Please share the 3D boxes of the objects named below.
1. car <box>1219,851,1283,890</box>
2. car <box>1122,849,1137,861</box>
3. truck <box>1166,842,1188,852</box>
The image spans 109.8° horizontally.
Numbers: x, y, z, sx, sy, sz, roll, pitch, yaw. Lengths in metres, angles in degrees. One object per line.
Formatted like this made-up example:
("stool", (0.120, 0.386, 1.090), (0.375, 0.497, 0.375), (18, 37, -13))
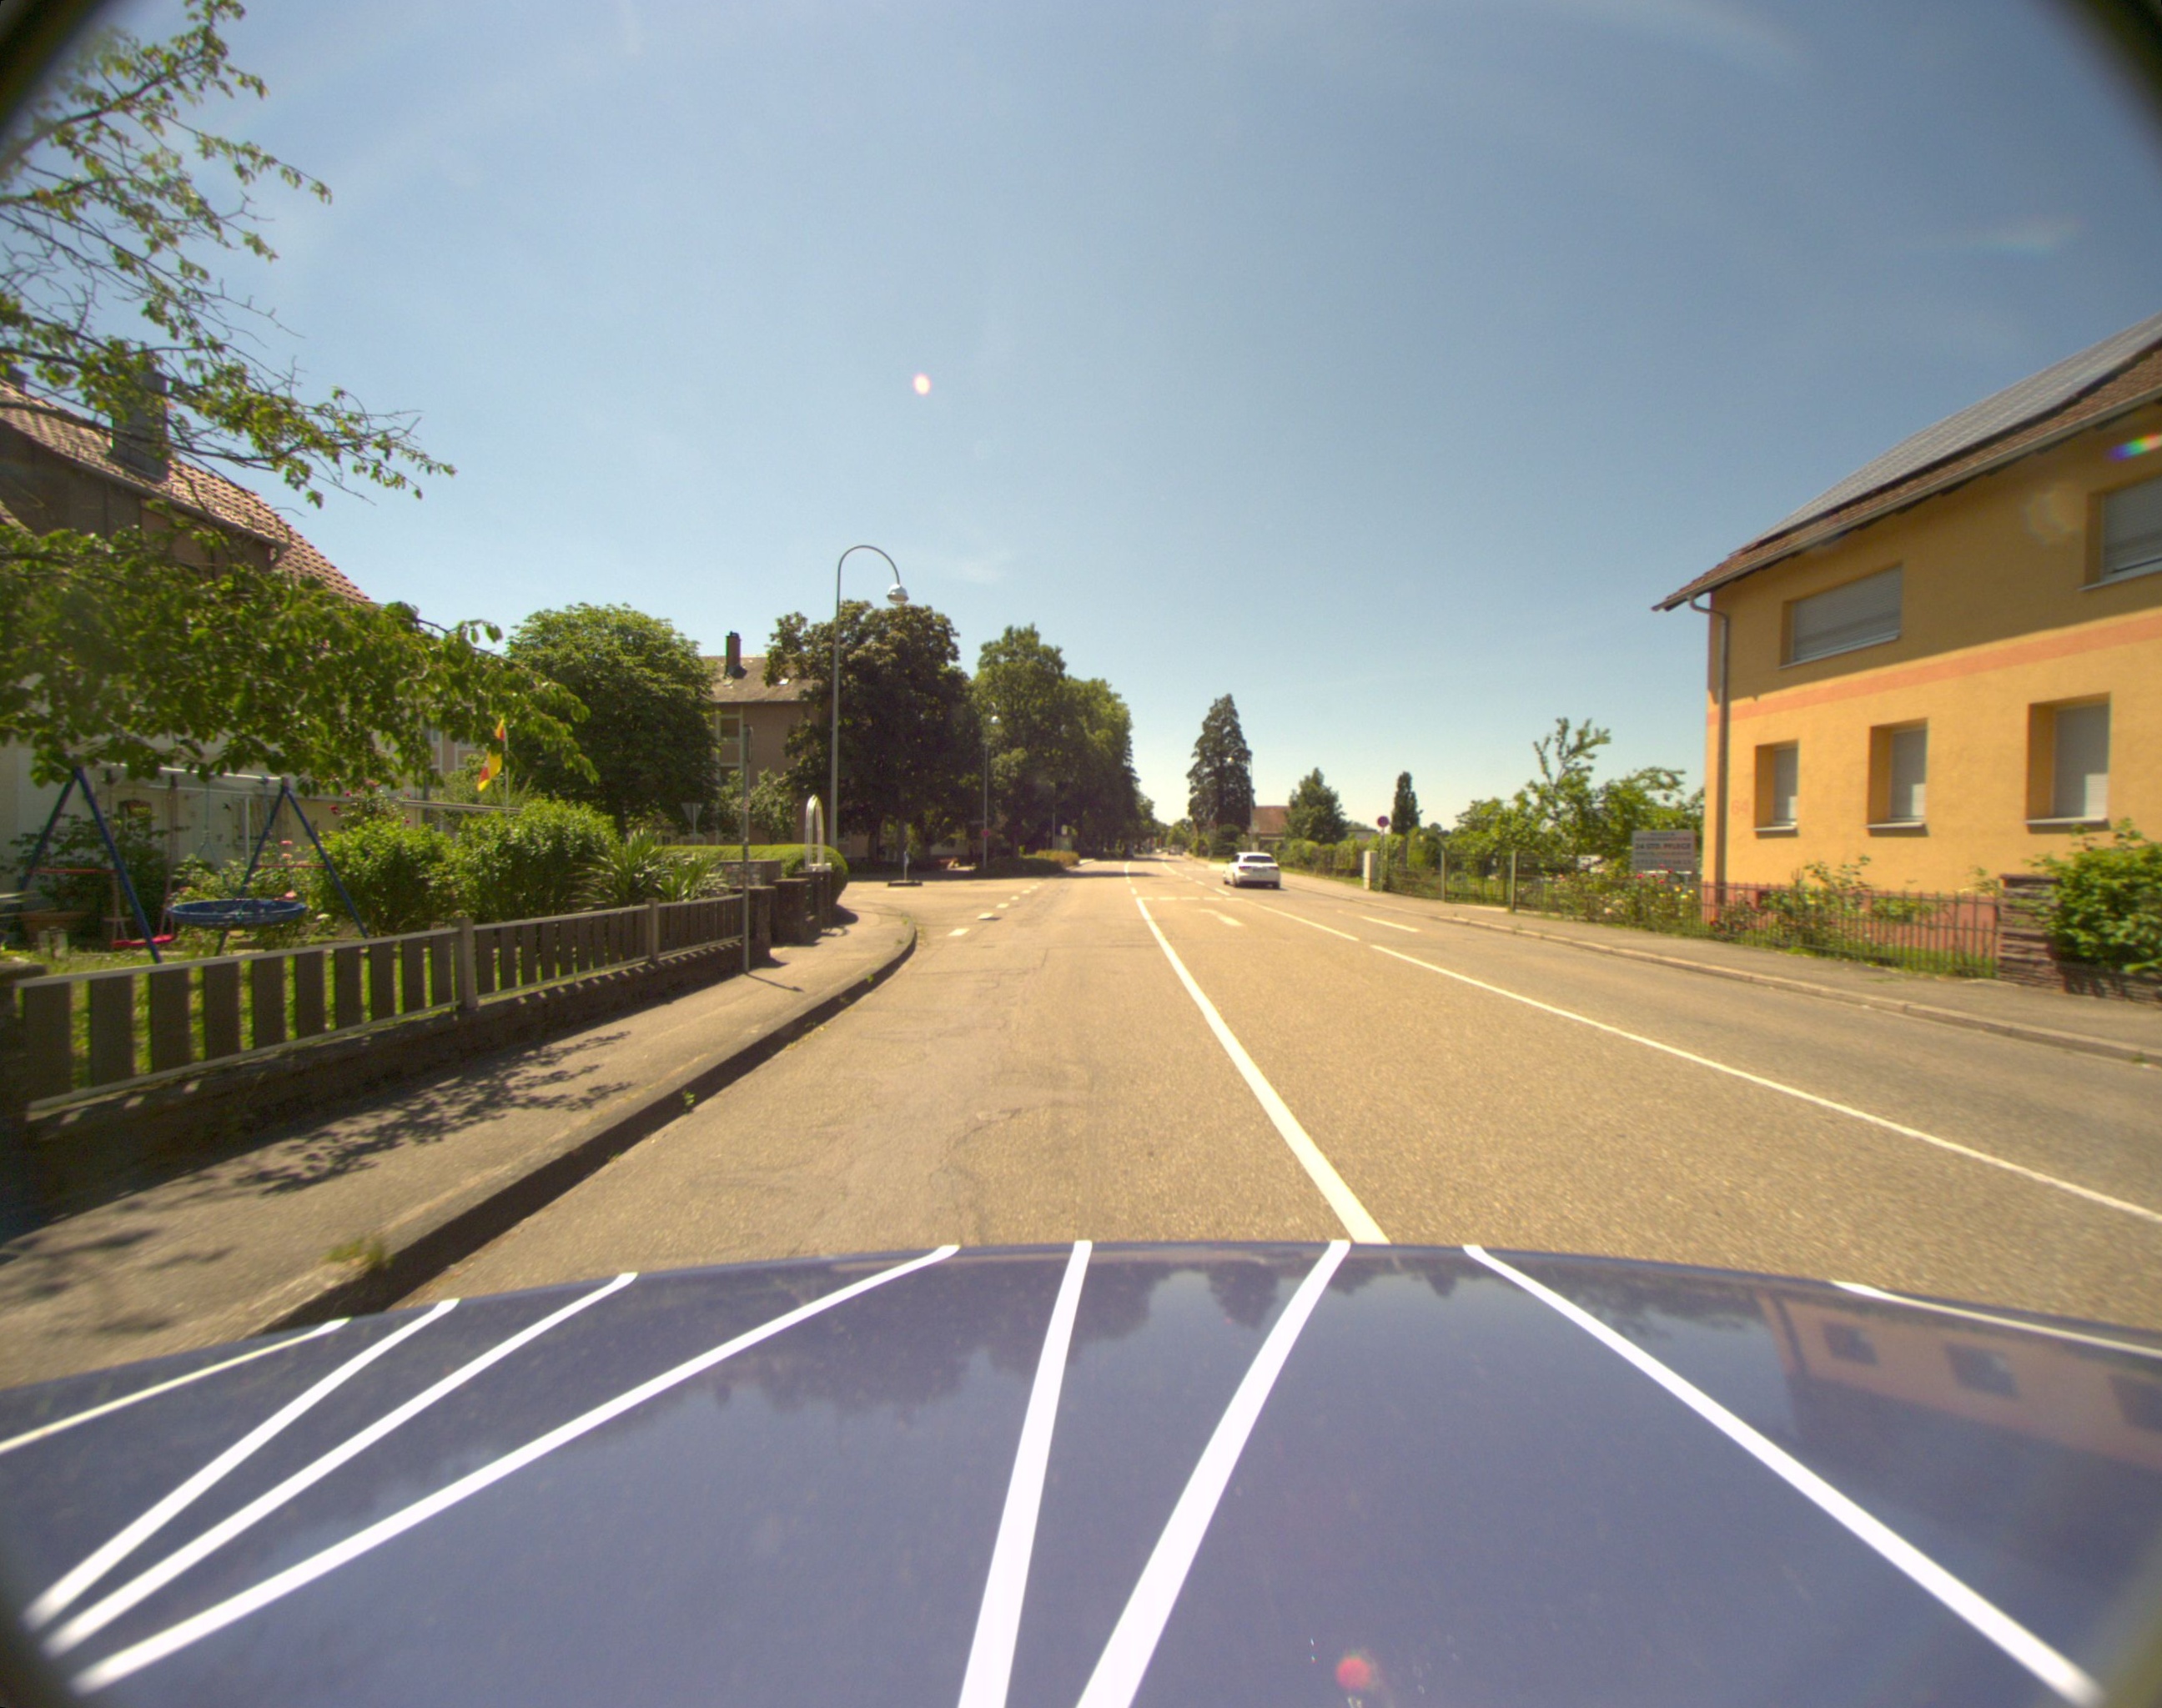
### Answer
("car", (6.793, 0.626, 30.712), (1.684, 1.364, 4.206), (2, 1, 1))
("car", (7.179, 0.168, 111.815), (1.882, 1.623, 4.323), (1, 1, 8))
("truck", (21.779, -1.567, 173.226), (2.627, 2.228, 6.246), (0, 1, -17))
